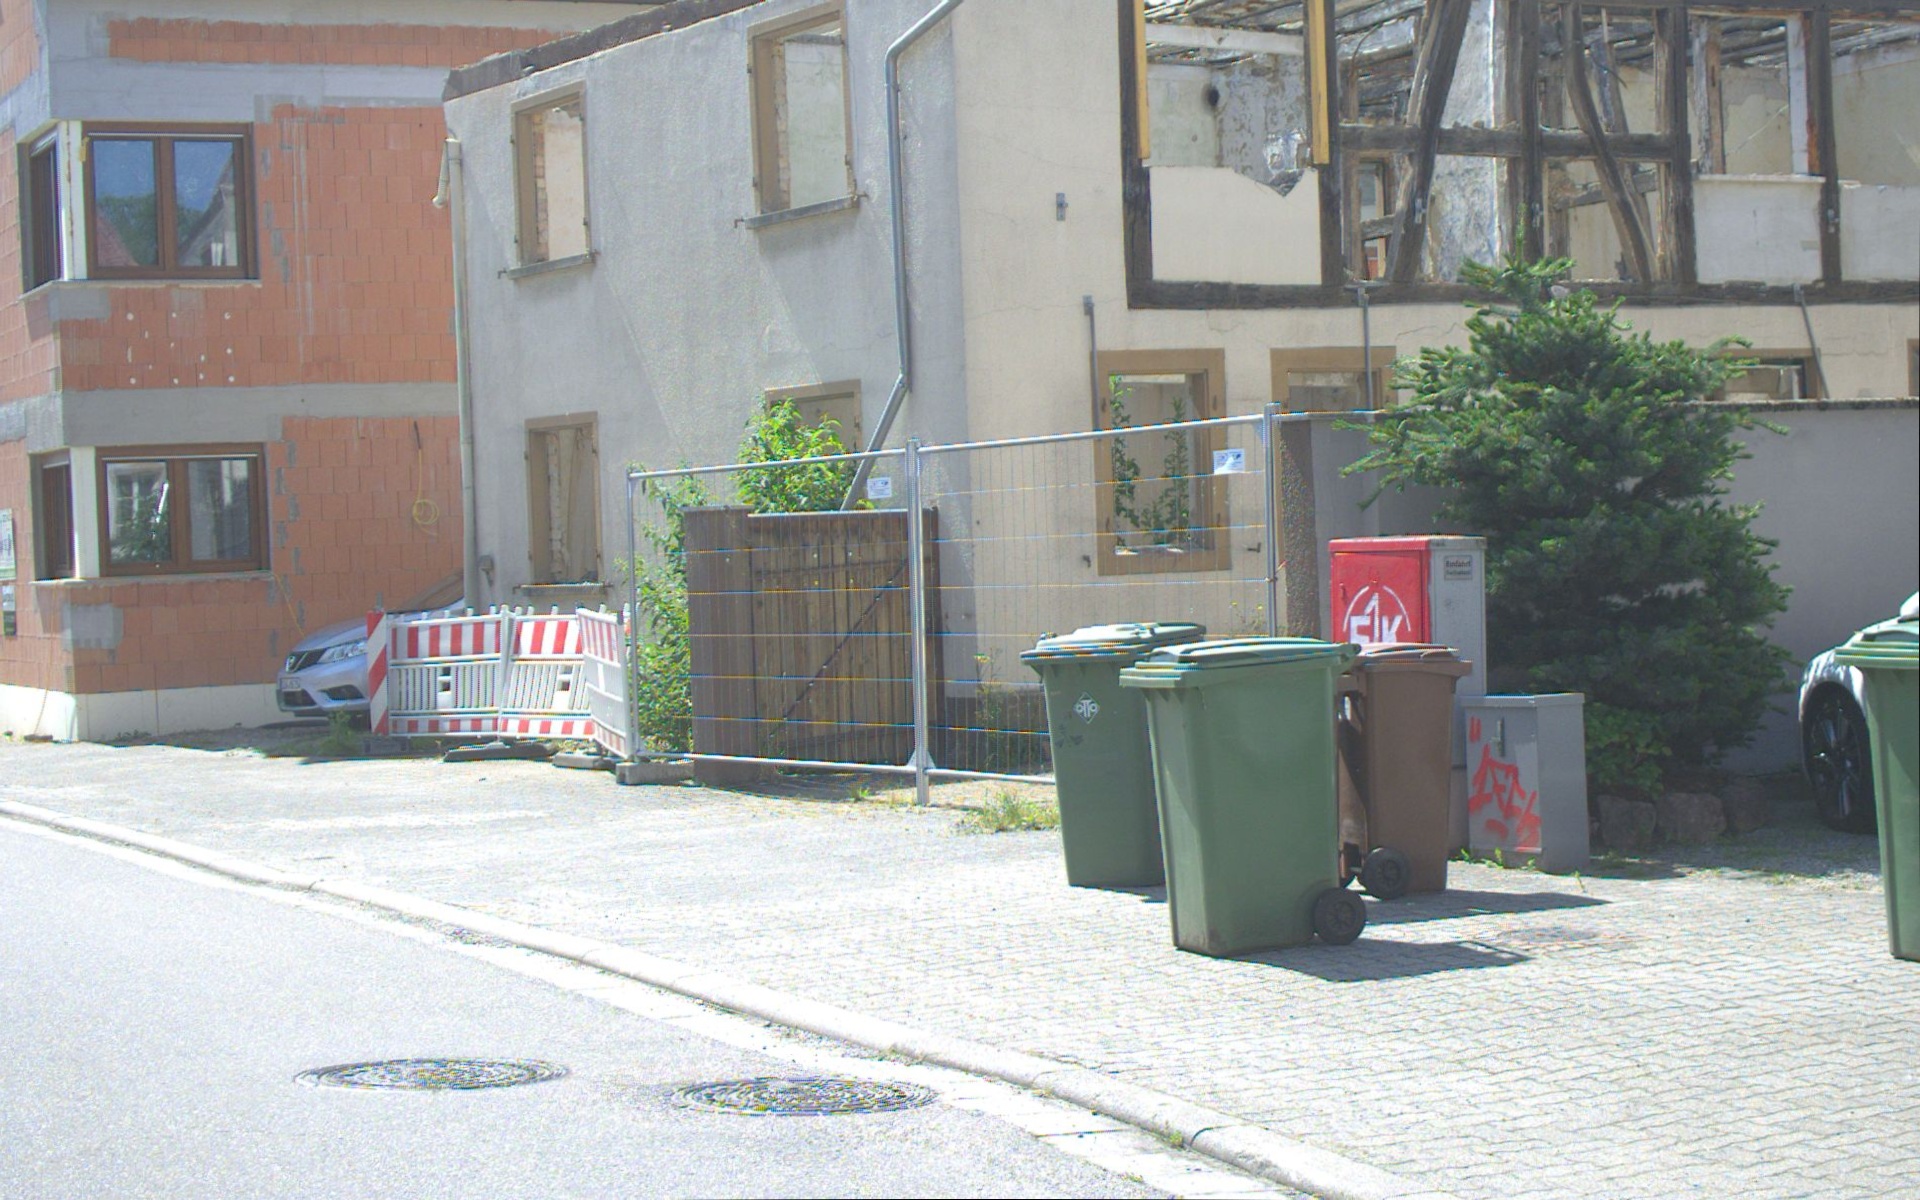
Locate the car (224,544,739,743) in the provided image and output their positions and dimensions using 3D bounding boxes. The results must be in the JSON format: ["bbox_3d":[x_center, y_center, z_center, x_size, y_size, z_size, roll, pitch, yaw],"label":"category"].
[{"bbox_3d":[-4.254,0.357,30.716,4.088,1.502,1.870,-3,1,-32],"label":"car"}]

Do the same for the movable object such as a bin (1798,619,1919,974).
[{"bbox_3d":[3.204,0.603,10.910,0.720,1.077,0.755,-2,1,-21],"label":"movable object such as a bin"}]

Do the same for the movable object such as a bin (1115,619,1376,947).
[{"bbox_3d":[0.998,0.626,12.111,0.686,1.088,0.638,-2,1,-18],"label":"movable object such as a bin"}]

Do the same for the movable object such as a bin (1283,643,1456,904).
[{"bbox_3d":[1.590,0.662,13.377,0.465,0.967,0.496,-2,1,-19],"label":"movable object such as a bin"}]

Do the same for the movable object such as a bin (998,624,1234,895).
[{"bbox_3d":[0.657,0.655,14.374,0.671,1.068,0.760,-2,1,31],"label":"movable object such as a bin"}]

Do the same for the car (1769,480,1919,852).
[{"bbox_3d":[4.954,0.242,13.462,1.810,1.523,4.298,-2,1,-11],"label":"car"}]
